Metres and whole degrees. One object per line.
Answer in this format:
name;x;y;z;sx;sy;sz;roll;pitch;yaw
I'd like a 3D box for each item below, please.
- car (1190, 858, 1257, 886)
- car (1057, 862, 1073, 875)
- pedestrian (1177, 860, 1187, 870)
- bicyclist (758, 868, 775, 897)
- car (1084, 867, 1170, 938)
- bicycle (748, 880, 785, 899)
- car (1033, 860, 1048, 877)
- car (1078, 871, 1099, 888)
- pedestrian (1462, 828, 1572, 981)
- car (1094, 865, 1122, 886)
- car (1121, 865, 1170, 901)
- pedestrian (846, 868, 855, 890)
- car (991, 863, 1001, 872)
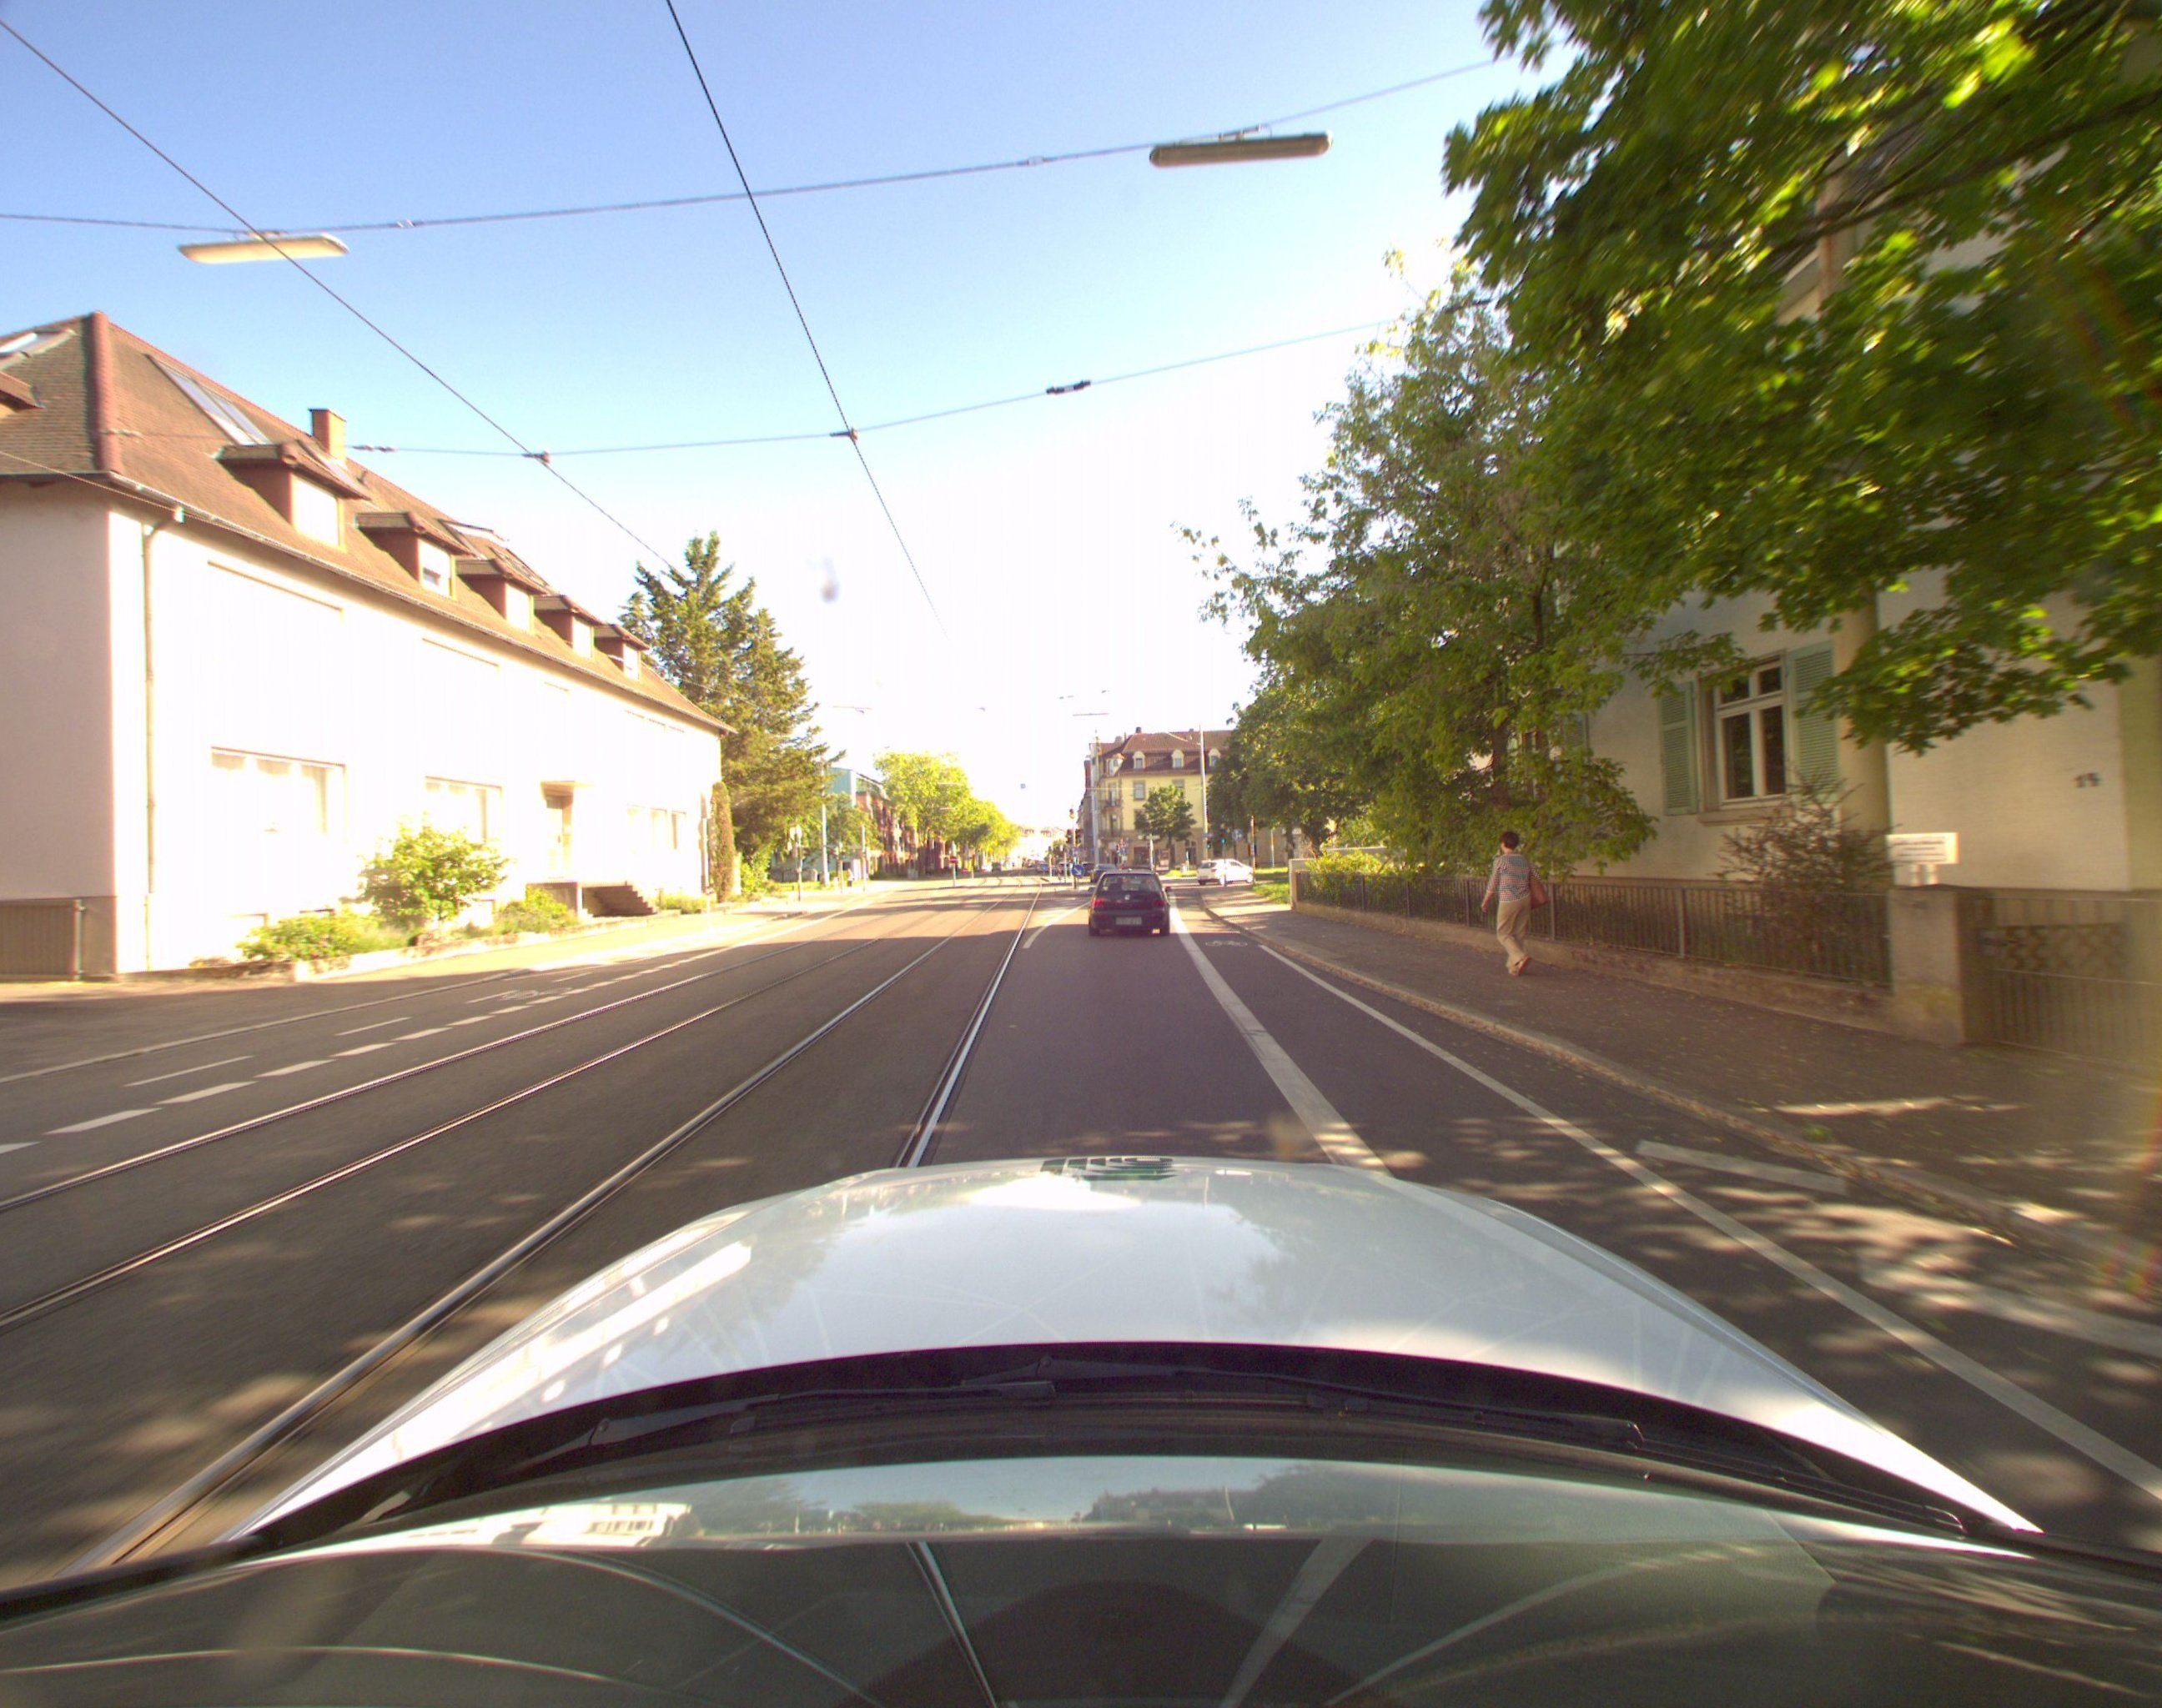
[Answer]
car;8.255;1.037;46.964;3.829;1.441;1.725;-2;-1;-40
car;-1.941;1.687;96.341;1.677;1.453;3.374;-2;-1;-4
pedestrian;11.696;1.290;94.364;0.977;1.187;0.742;-2;-1;-3
bicyclist;-18.367;1.668;47.607;0.676;1.685;0.538;-2;-1;5
car;1.136;0.995;18.277;1.707;1.402;4.013;-1;-1;6
bicycle;-18.402;2.051;47.605;1.936;1.015;0.538;-3;-1;5
car;-4.774;1.684;95.524;1.783;1.860;3.994;0;-1;-4
car;0.666;2.304;75.468;1.567;1.311;3.495;-2;2;-4
pedestrian;5.140;0.579;9.651;0.716;1.688;0.869;-3;-1;-4
car;1.914;1.518;58.608;1.567;1.311;3.642;-2;2;-4
car;2.642;1.174;34.173;1.630;1.372;3.755;-2;-1;-1
pedestrian;-17.963;1.922;63.457;0.611;1.689;0.728;1;-1;-20
car;-17.339;2.744;166.209;1.969;1.815;4.287;-2;-1;-6
